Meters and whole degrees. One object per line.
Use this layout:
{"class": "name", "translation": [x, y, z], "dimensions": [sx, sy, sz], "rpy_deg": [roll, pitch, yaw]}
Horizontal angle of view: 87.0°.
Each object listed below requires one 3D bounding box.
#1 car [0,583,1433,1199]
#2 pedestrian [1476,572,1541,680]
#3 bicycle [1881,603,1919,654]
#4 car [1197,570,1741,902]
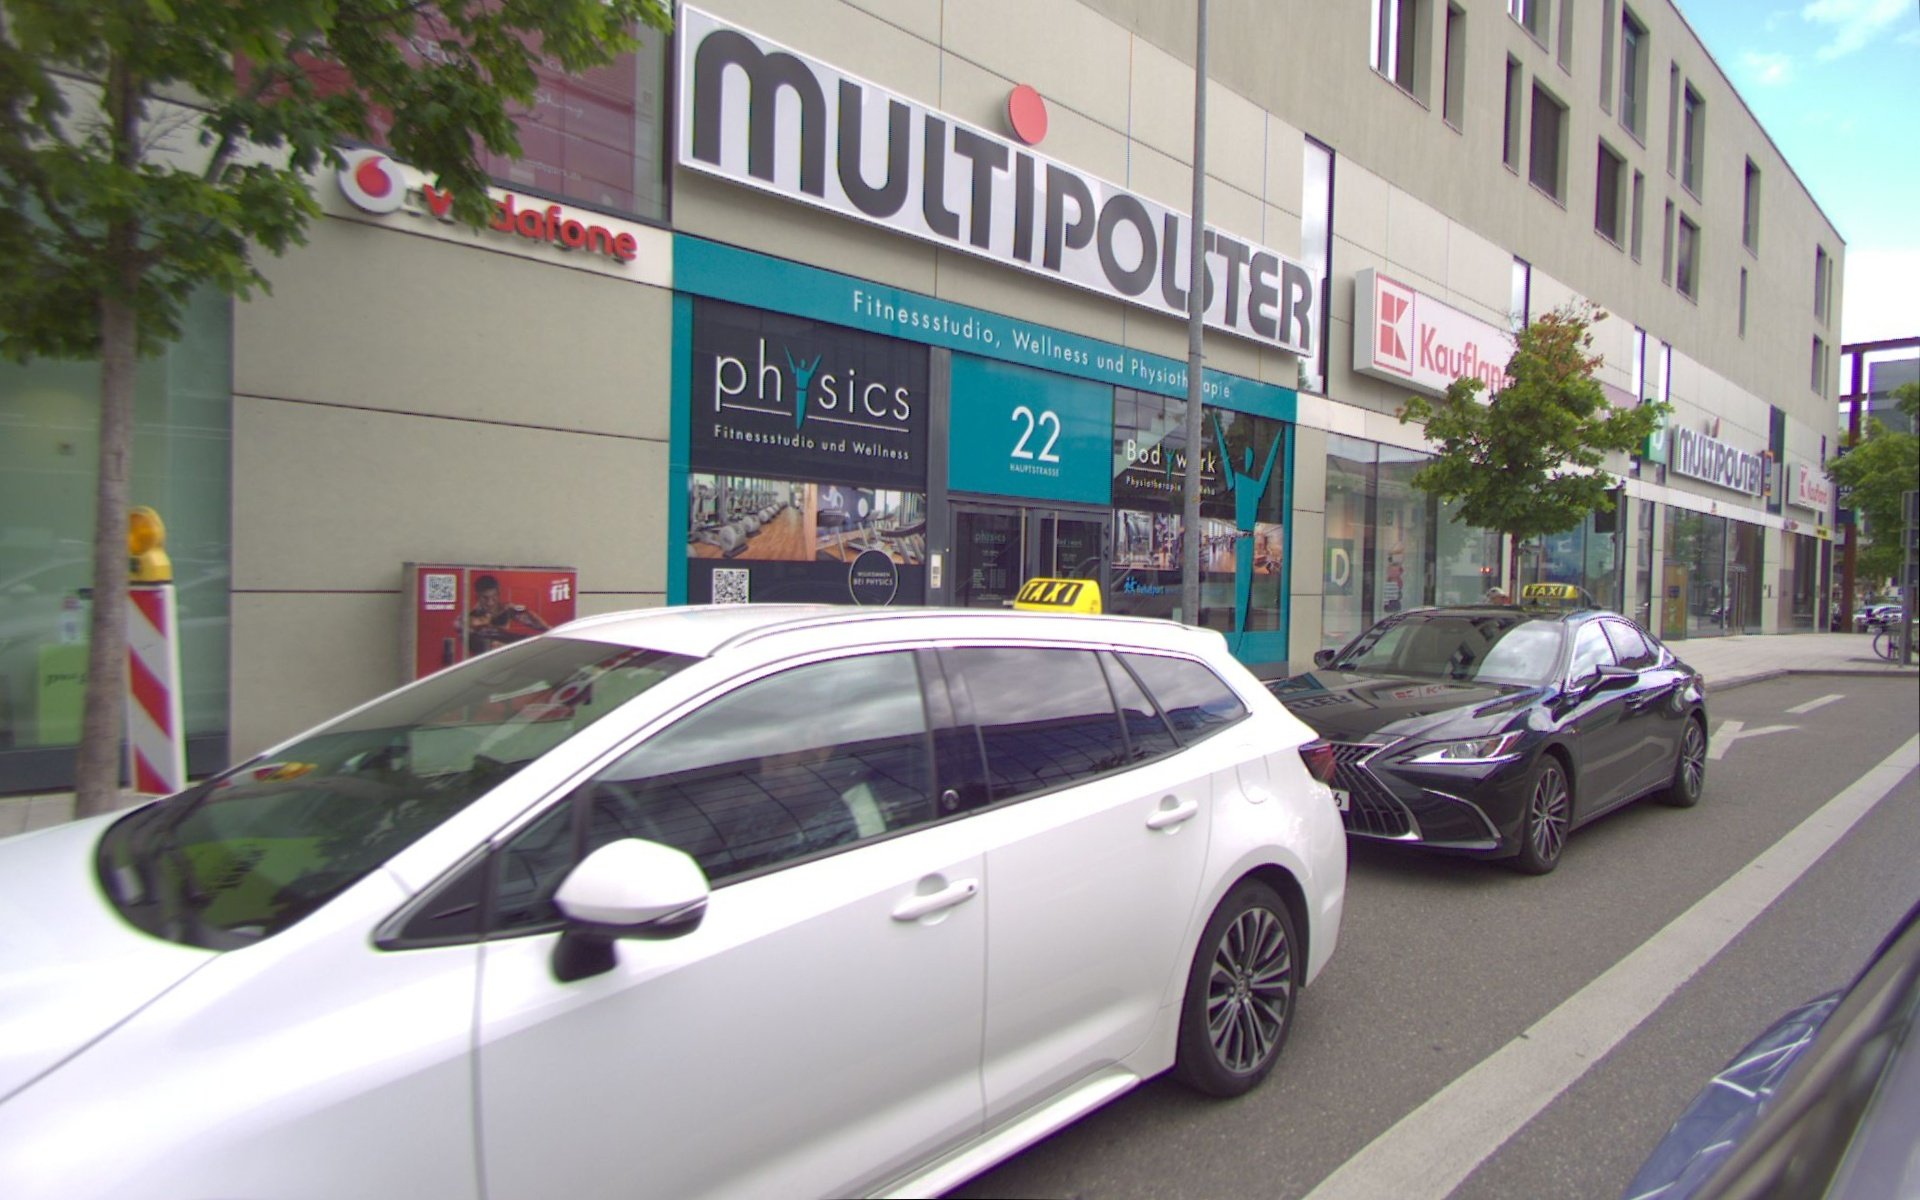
{"class": "car", "translation": [-0.576, 0.688, 2.721], "dimensions": [4.437, 1.443, 1.785], "rpy_deg": [0, 1, -42]}
{"class": "pedestrian", "translation": [8.461, 0.384, 15.611], "dimensions": [0.719, 1.586, 0.590], "rpy_deg": [1, 3, -41]}
{"class": "bicycle", "translation": [22.263, 0.687, 23.119], "dimensions": [1.740, 1.113, 0.553], "rpy_deg": [5, 3, 42]}
{"class": "car", "translation": [3.754, 0.625, 6.987], "dimensions": [4.707, 1.561, 1.739], "rpy_deg": [0, 0, -41]}
